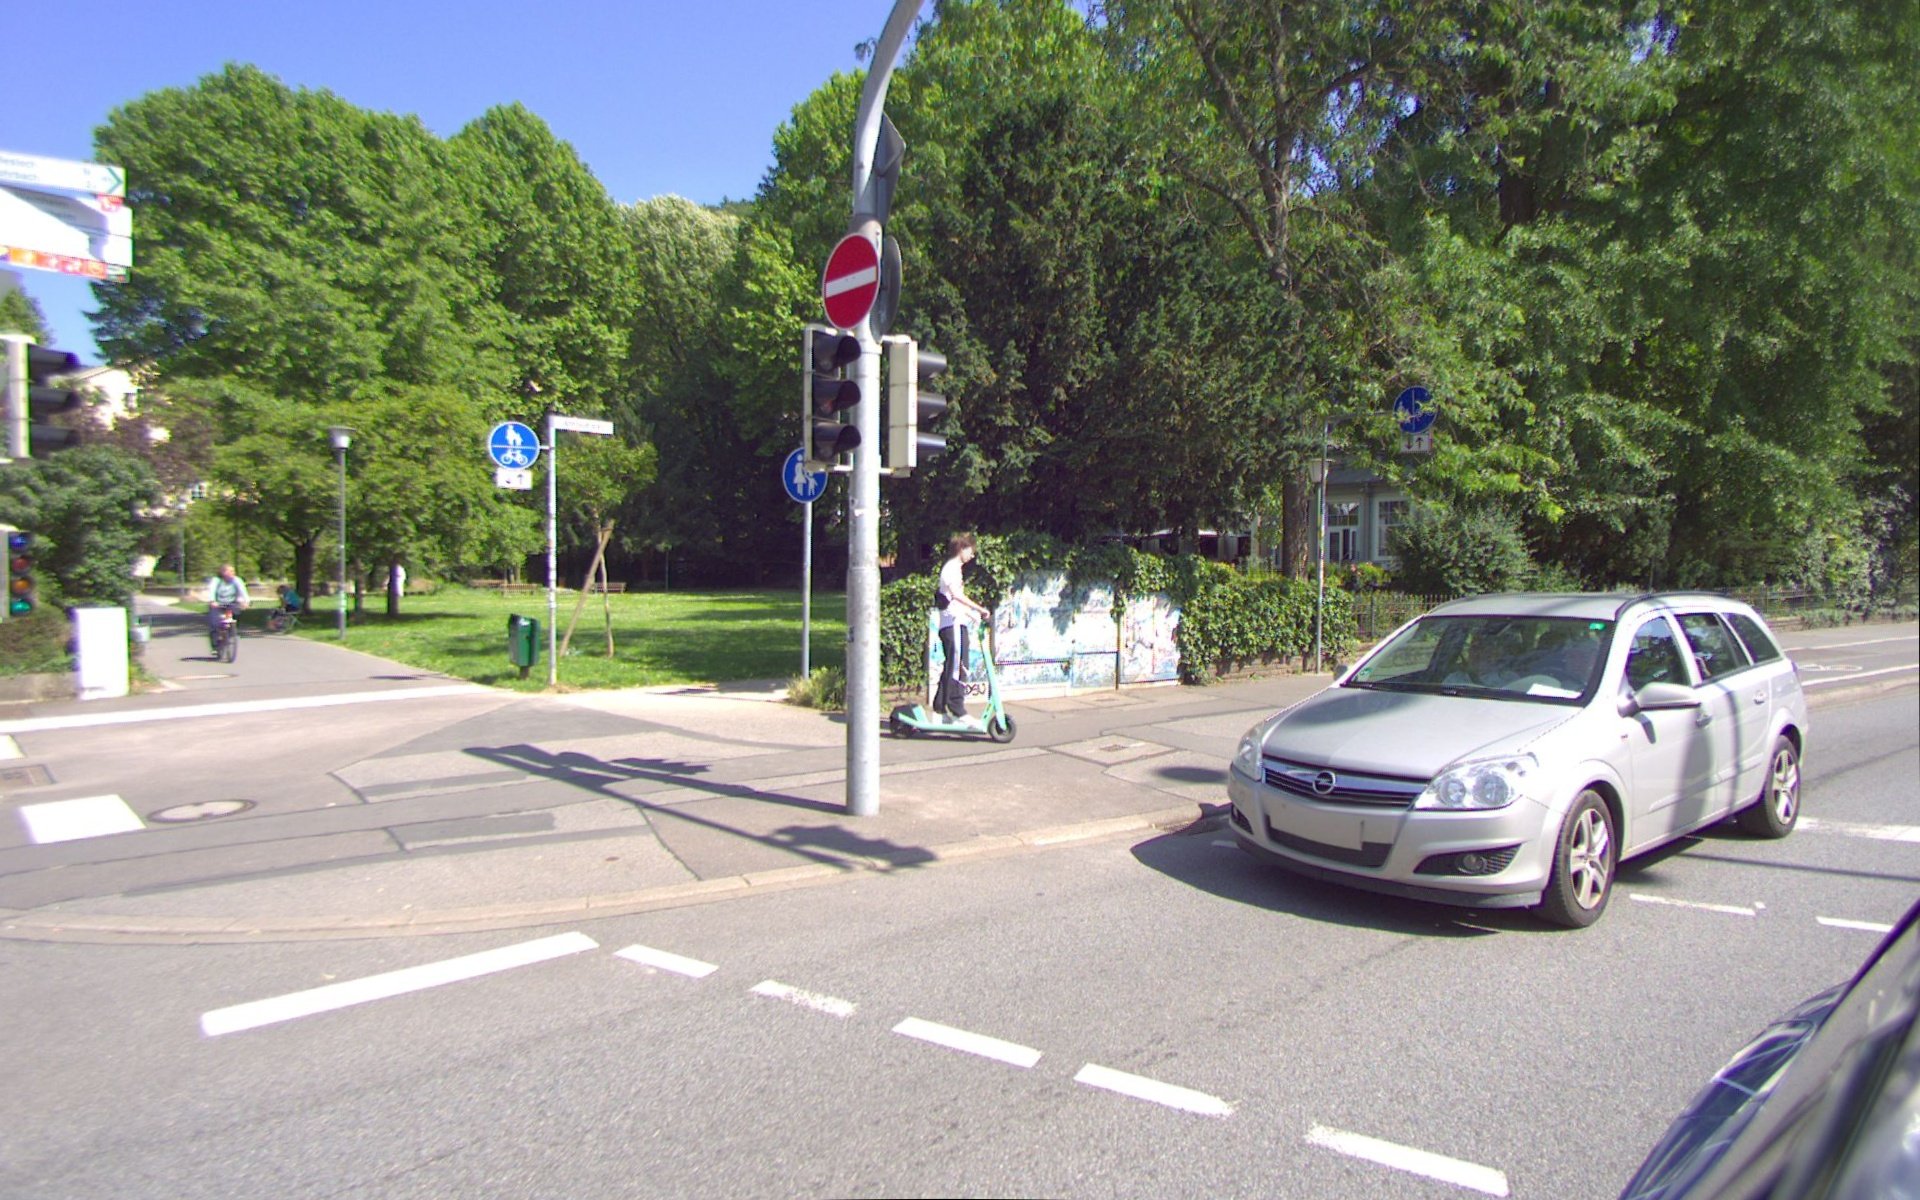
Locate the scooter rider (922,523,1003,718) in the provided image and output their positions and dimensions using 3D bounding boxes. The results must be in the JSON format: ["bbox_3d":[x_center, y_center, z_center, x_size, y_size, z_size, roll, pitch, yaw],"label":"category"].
[{"bbox_3d":[0.024,0.160,9.191,0.696,1.692,0.824,0,2,0],"label":"scooter rider"}]

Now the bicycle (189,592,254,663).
[{"bbox_3d":[-12.596,0.450,17.252,0.770,1.134,1.675,-1,0,-40],"label":"bicycle"}]

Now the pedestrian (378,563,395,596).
[{"bbox_3d":[-29.869,-1.053,52.722,0.677,1.705,0.661,-1,1,-41],"label":"pedestrian"}]

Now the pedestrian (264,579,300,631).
[{"bbox_3d":[-17.225,0.119,25.708,0.703,1.286,0.453,-1,1,-40],"label":"pedestrian"}]

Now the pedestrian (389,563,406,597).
[{"bbox_3d":[-29.137,-1.041,52.409,0.677,1.705,0.661,-1,1,-41],"label":"pedestrian"}]

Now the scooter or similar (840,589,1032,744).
[{"bbox_3d":[-0.211,0.579,9.215,1.664,1.314,0.821,0,2,0],"label":"scooter or similar"}]

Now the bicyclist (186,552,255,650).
[{"bbox_3d":[-12.536,-0.011,17.159,0.853,1.594,0.942,-2,3,-40],"label":"bicyclist"}]

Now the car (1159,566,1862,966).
[{"bbox_3d":[3.319,0.608,5.808,4.321,1.541,1.714,0,1,-33],"label":"car"}]
